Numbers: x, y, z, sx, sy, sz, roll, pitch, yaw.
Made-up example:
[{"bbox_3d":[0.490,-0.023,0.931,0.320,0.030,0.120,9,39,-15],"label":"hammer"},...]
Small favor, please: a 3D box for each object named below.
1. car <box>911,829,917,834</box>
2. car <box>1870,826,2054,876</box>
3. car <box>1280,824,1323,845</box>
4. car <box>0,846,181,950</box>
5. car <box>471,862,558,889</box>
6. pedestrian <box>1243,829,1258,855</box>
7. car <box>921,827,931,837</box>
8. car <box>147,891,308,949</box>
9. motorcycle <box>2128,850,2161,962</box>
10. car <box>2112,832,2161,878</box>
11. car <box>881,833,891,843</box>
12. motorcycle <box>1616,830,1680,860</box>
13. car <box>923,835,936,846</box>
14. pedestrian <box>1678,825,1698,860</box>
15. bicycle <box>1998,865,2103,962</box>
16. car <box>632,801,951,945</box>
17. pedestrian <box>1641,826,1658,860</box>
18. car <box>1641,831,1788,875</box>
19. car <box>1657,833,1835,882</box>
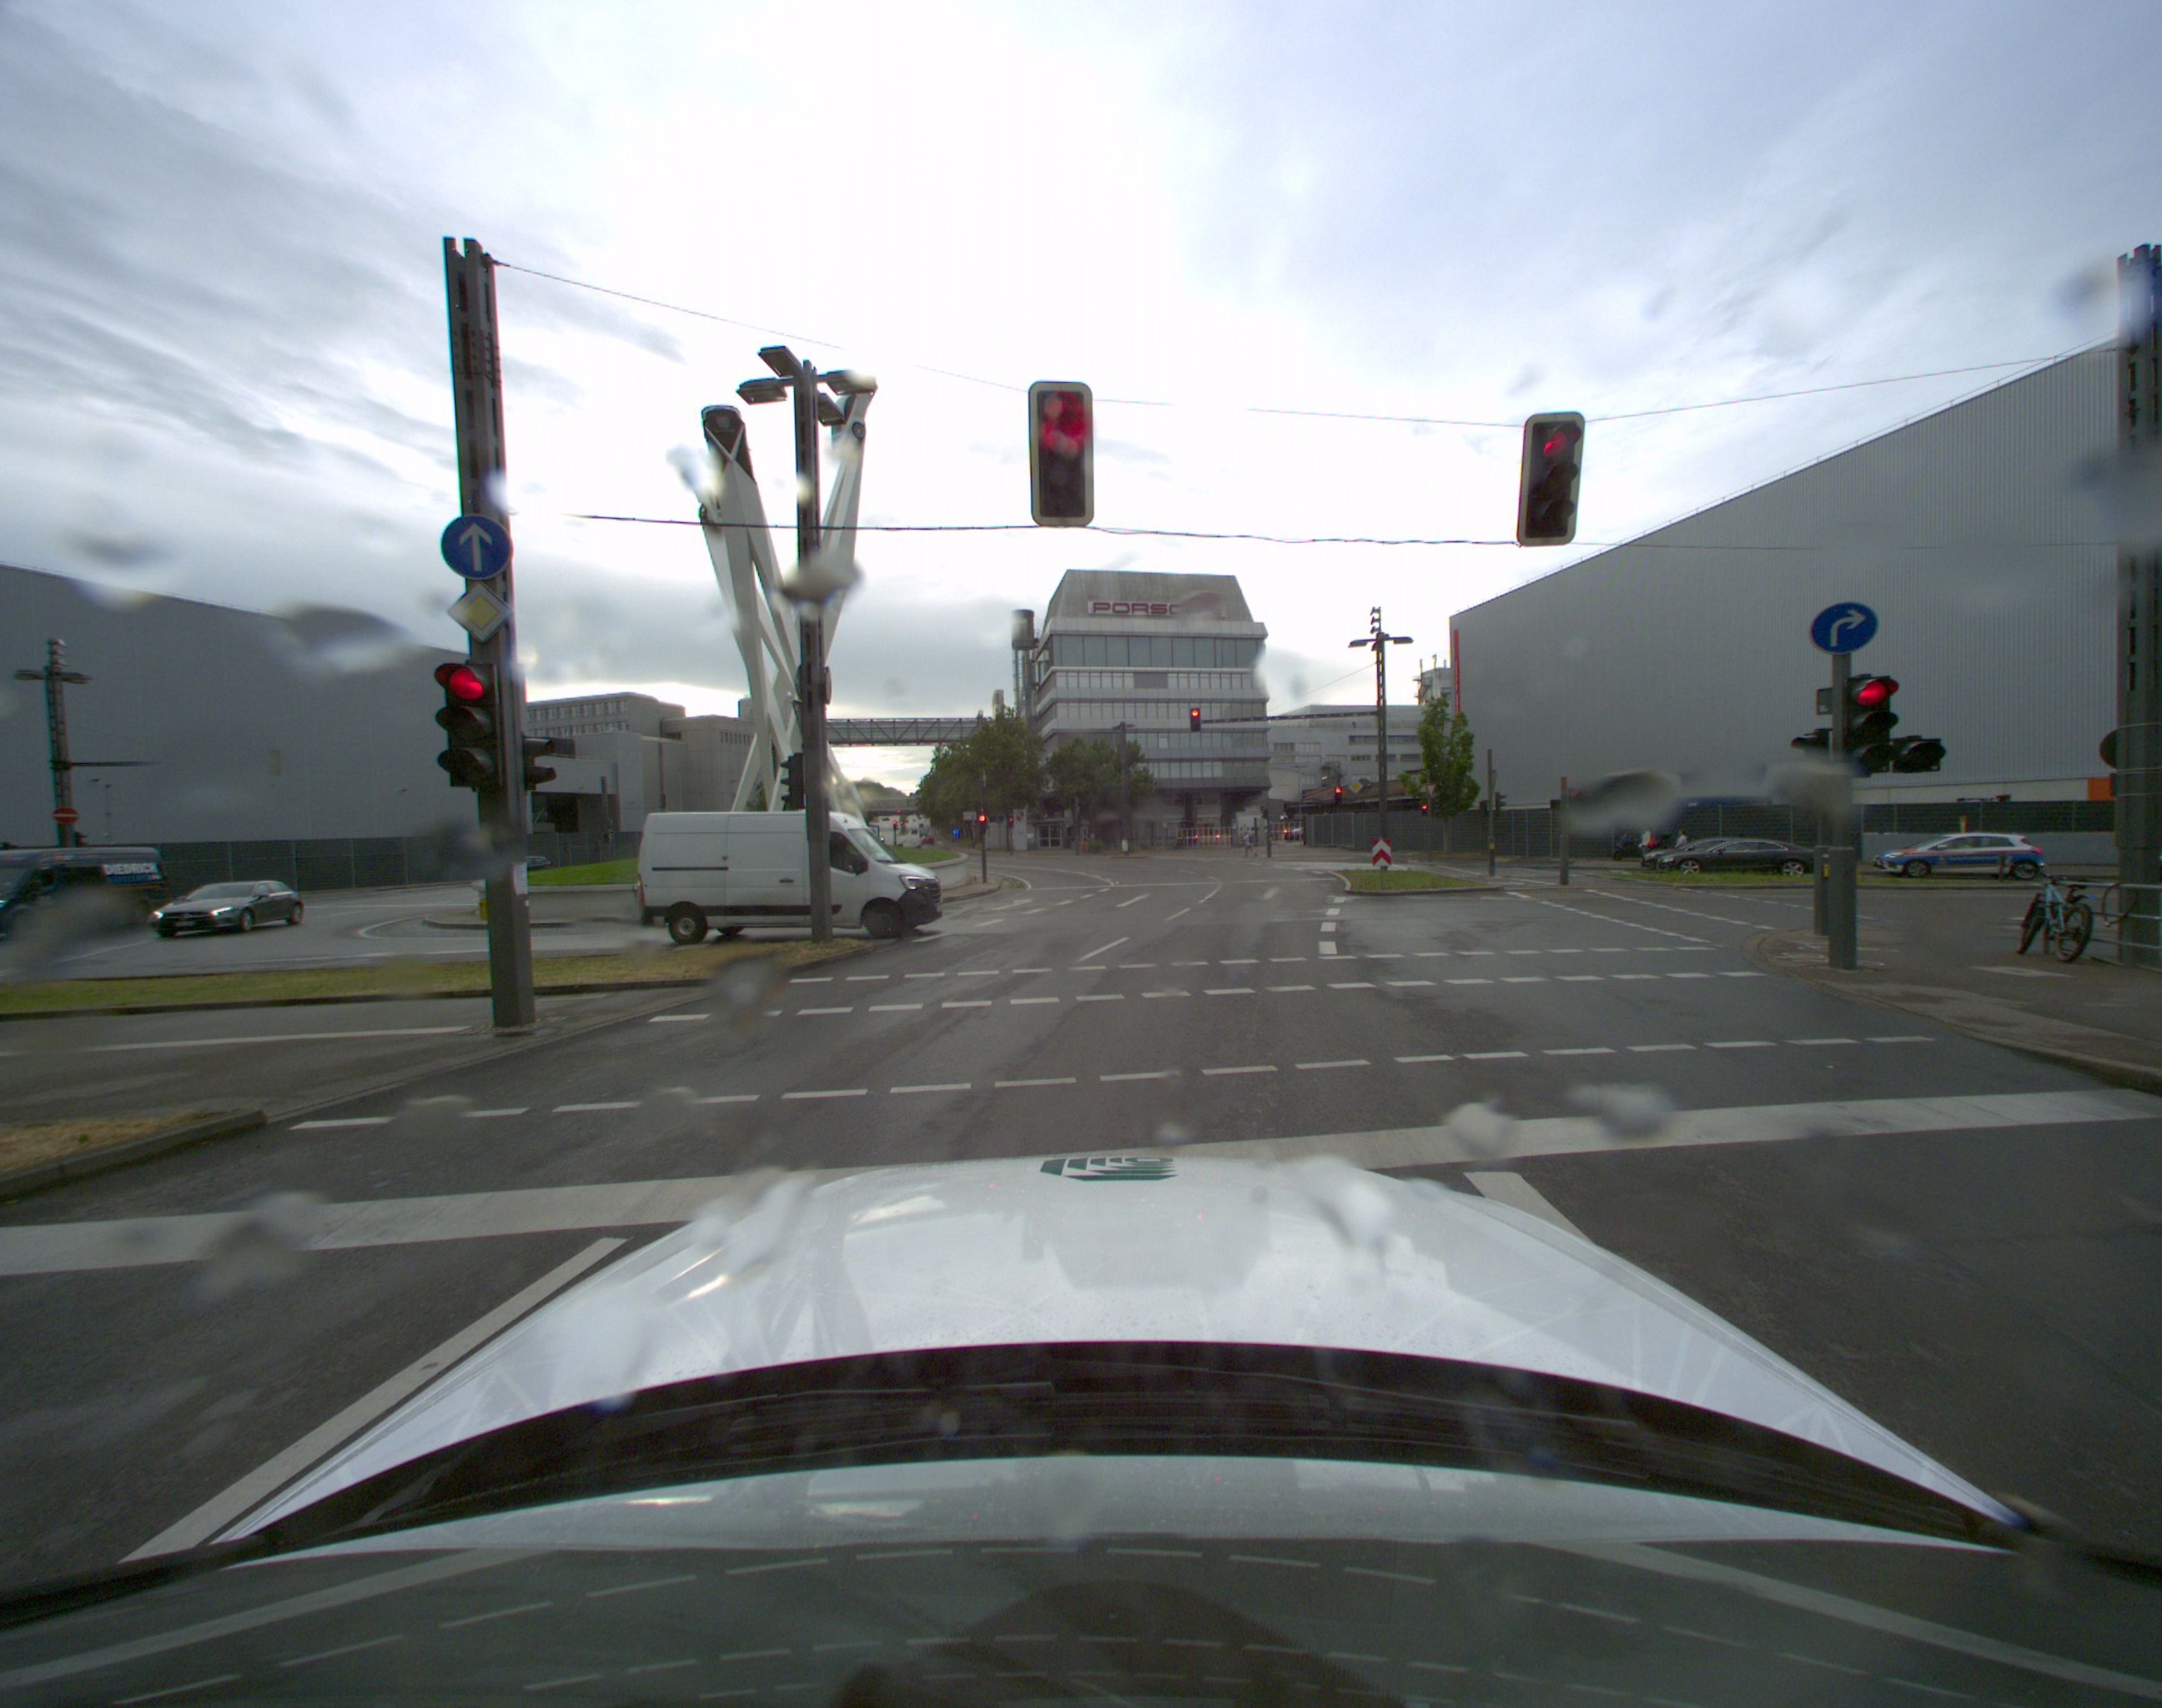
[{"bbox_3d":[-47.969,-6.542,233.834,1.558,1.288,3.399,-2,-1,-12],"label":"car"},{"bbox_3d":[30.217,-0.118,28.125,3.930,1.601,1.924,0,1,31],"label":"car"},{"bbox_3d":[22.495,-1.998,83.048,4.923,1.969,1.975,-2,1,-44],"label":"car"},{"bbox_3d":[-31.651,1.246,25.222,1.974,2.820,7.078,-2,0,-20],"label":"car"},{"bbox_3d":[-34.883,1.287,50.245,1.756,1.486,4.026,-1,0,38],"label":"car"},{"bbox_3d":[10.970,-0.747,52.558,0.801,1.611,0.773,-2,-1,19],"label":"pedestrian"},{"bbox_3d":[-37.752,-5.312,198.424,2.231,2.108,4.940,-2,-1,-8],"label":"car"},{"bbox_3d":[-25.252,1.903,24.291,1.645,1.338,4.046,-2,0,-20],"label":"car"},{"bbox_3d":[15.135,0.662,10.380,2.213,1.452,0.759,-1,0,12],"label":"motorcycle"},{"bbox_3d":[35.293,0.029,25.112,3.949,1.392,1.769,0,2,31],"label":"car"},{"bbox_3d":[-34.639,-2.815,144.560,1.629,1.816,3.717,-1,1,-13],"label":"car"},{"bbox_3d":[25.691,-0.400,36.950,2.330,1.344,0.657,-1,0,30],"label":"motorcycle"},{"bbox_3d":[-22.767,-2.068,121.934,1.774,1.464,3.716,-2,-1,-12],"label":"car"},{"bbox_3d":[26.006,-0.508,34.903,0.642,1.481,0.442,-1,0,35],"label":"pedestrian"},{"bbox_3d":[12.381,0.715,10.444,0.381,1.098,1.762,-2,0,35],"label":"bicycle"},{"bbox_3d":[-5.438,0.332,15.860,5.390,2.447,2.000,-2,0,0],"label":"car"},{"bbox_3d":[25.274,-0.503,36.198,0.605,1.481,0.426,-1,0,37],"label":"pedestrian"},{"bbox_3d":[23.944,-0.071,30.998,4.244,1.539,1.769,0,2,31],"label":"car"},{"bbox_3d":[22.618,0.083,27.945,4.525,1.539,1.769,0,2,31],"label":"car"}]
